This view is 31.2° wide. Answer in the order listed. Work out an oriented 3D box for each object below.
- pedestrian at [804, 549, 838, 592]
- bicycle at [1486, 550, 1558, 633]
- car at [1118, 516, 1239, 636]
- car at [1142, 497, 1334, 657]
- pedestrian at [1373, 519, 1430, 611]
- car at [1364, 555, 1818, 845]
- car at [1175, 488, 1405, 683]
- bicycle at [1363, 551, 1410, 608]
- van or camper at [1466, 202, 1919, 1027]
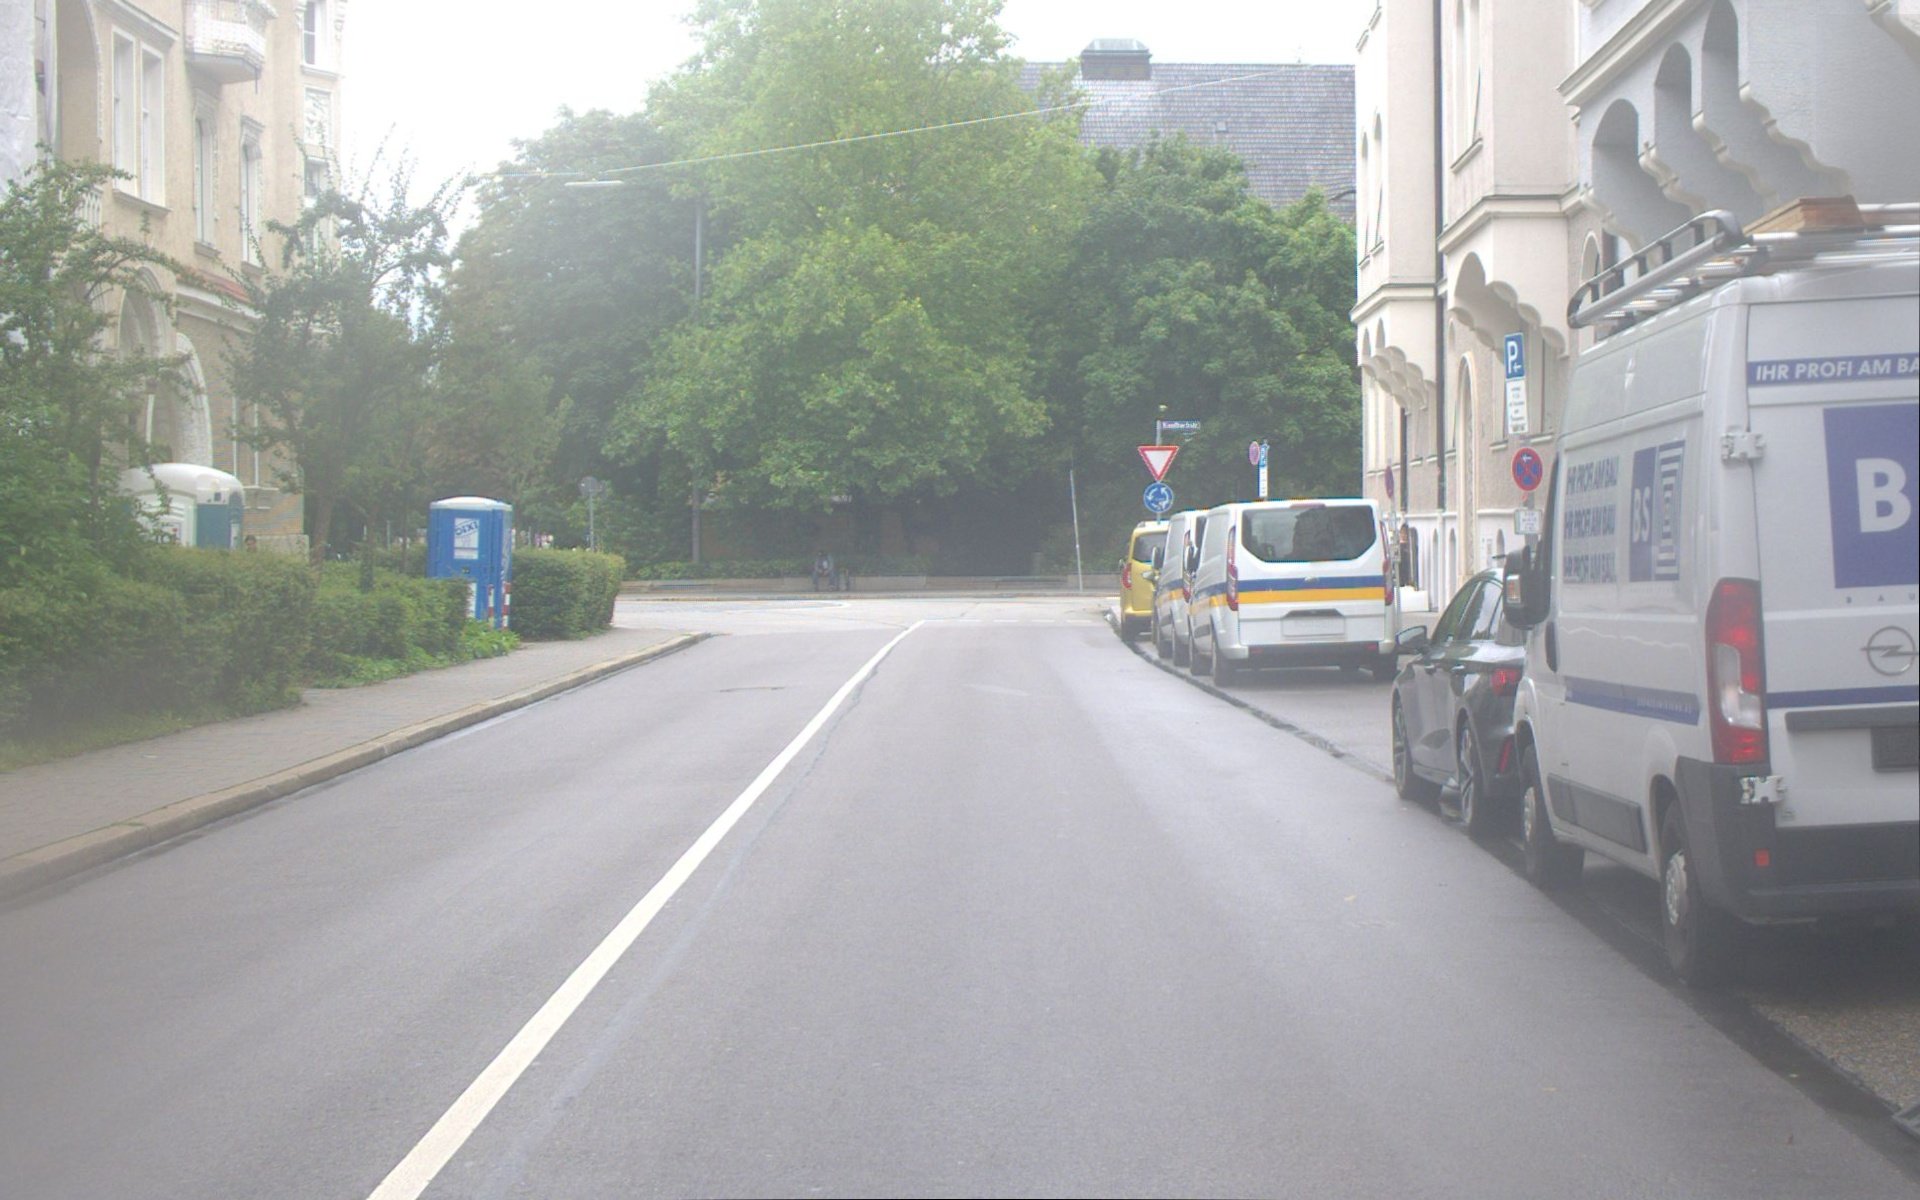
[{"bbox_3d":[-3.907,-0.840,96.960,0.812,1.185,0.919,0,1,7],"label":"pedestrian"},{"bbox_3d":[7.856,-0.134,48.128,0.694,1.090,2.037,-2,1,2],"label":"bicycle"},{"bbox_3d":[3.533,-0.427,55.750,1.850,1.846,4.820,0,1,3],"label":"car"},{"bbox_3d":[3.529,-0.325,44.482,1.959,1.930,4.993,-1,1,-1],"label":"car"},{"bbox_3d":[8.547,-0.673,66.581,0.691,1.731,0.735,-2,-2,-44],"label":"pedestrian"},{"bbox_3d":[3.427,0.479,19.390,1.753,1.429,4.087,-1,1,-1],"label":"car"},{"bbox_3d":[3.597,-0.194,38.345,1.959,2.007,4.993,-1,1,-1],"label":"car"},{"bbox_3d":[8.679,-0.422,70.061,0.694,1.090,2.283,-2,1,2],"label":"bicycle"},{"bbox_3d":[3.376,0.003,13.700,1.953,2.628,5.459,0,1,1],"label":"van or camper"}]
